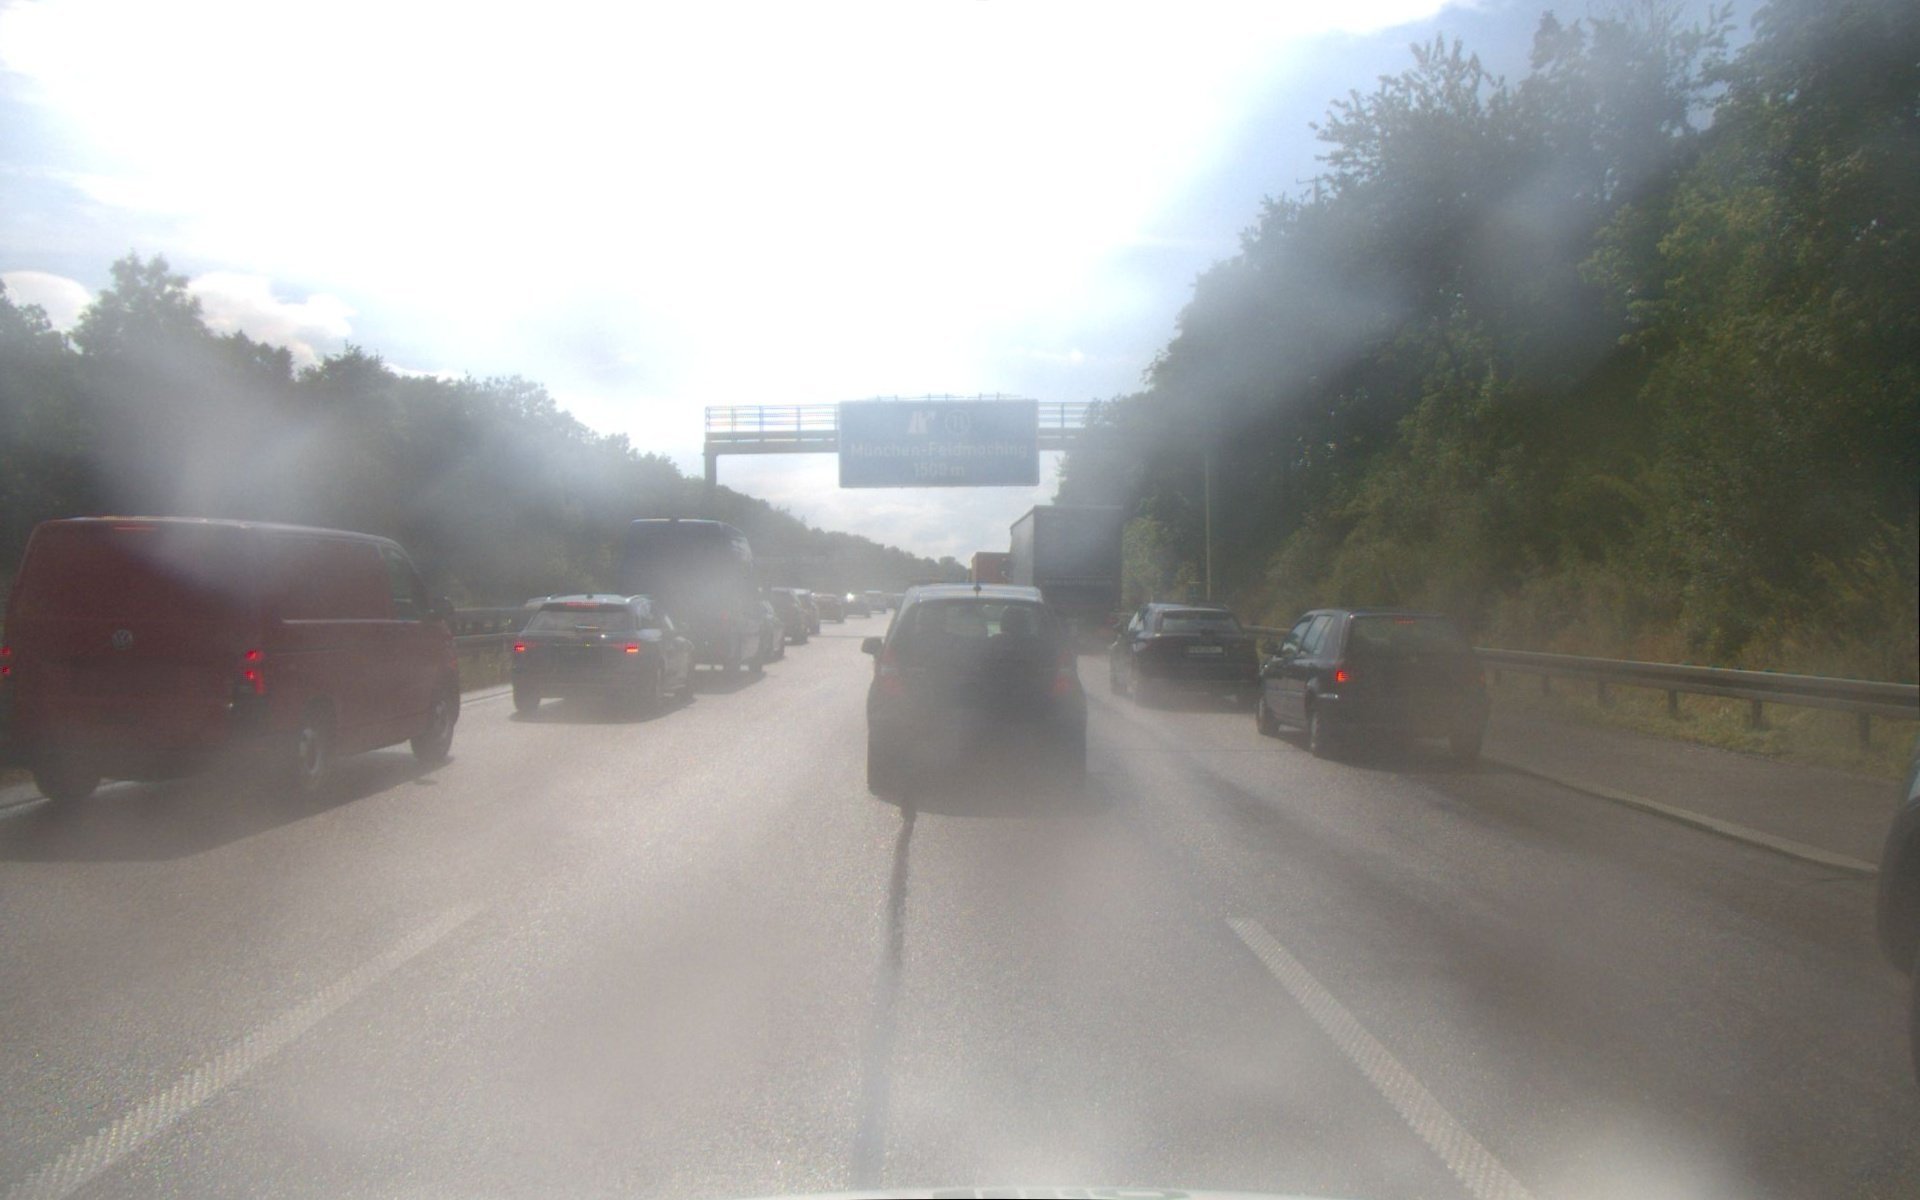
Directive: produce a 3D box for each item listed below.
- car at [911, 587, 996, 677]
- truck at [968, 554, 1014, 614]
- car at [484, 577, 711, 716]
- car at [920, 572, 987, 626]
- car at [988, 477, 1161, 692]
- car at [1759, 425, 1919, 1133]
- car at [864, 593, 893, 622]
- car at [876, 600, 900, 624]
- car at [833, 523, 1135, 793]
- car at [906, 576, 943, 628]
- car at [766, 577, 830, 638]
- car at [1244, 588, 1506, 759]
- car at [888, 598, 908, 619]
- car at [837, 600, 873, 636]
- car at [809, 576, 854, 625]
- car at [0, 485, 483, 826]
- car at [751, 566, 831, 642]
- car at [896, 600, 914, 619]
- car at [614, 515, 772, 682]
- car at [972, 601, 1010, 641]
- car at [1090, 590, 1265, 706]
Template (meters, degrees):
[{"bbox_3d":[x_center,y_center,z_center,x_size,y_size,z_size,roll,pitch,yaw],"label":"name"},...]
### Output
[{"bbox_3d":[-0.194,0.667,36.241,1.659,1.836,3.973,1,0,-3],"label":"car"},{"bbox_3d":[1.938,-1.007,106.718,2.719,3.695,5.915,1,0,-1],"label":"truck"},{"bbox_3d":[-4.597,0.546,21.705,1.953,1.592,4.755,1,0,-1],"label":"car"},{"bbox_3d":[-0.242,-0.021,50.744,1.828,1.542,3.973,1,0,-3],"label":"car"},{"bbox_3d":[3.346,-0.417,54.611,4.314,5.932,16.815,1,0,-1],"label":"car"},{"bbox_3d":[3.663,0.499,2.633,1.902,1.952,5.650,1,0,-2],"label":"car"},{"bbox_3d":[-6.185,0.592,126.167,1.953,2.152,4.888,1,0,-1],"label":"car"},{"bbox_3d":[-6.619,1.085,152.296,1.953,2.152,4.888,1,0,-1],"label":"car"},{"bbox_3d":[0.077,0.444,14.759,2.229,1.989,4.818,1,0,-3],"label":"car"},{"bbox_3d":[-1.934,0.122,91.499,1.953,2.794,5.258,1,0,-1],"label":"car"},{"bbox_3d":[-6.043,0.280,62.111,1.953,2.152,4.888,1,0,-1],"label":"car"},{"bbox_3d":[4.145,0.682,17.120,1.559,1.542,3.974,1,0,-2],"label":"car"},{"bbox_3d":[-6.514,0.935,173.812,1.953,2.152,4.888,1,0,-1],"label":"car"},{"bbox_3d":[-6.541,1.099,103.629,1.953,2.152,4.888,1,0,-1],"label":"car"},{"bbox_3d":[-6.608,0.028,85.481,1.953,2.427,5.258,1,0,-1],"label":"car"},{"bbox_3d":[-5.309,0.352,12.664,1.938,2.090,4.755,1,0,-1],"label":"car"},{"bbox_3d":[-5.051,0.133,50.091,1.953,2.152,4.888,1,0,-1],"label":"car"},{"bbox_3d":[-6.386,1.084,192.795,1.953,2.152,4.888,1,0,-1],"label":"car"},{"bbox_3d":[-4.591,-0.017,29.262,1.953,2.661,5.258,1,0,-1],"label":"car"},{"bbox_3d":[1.735,1.181,92.832,1.953,2.152,4.888,1,0,-1],"label":"car"},{"bbox_3d":[3.100,0.656,24.325,1.828,1.542,3.973,1,0,-3],"label":"car"}]
